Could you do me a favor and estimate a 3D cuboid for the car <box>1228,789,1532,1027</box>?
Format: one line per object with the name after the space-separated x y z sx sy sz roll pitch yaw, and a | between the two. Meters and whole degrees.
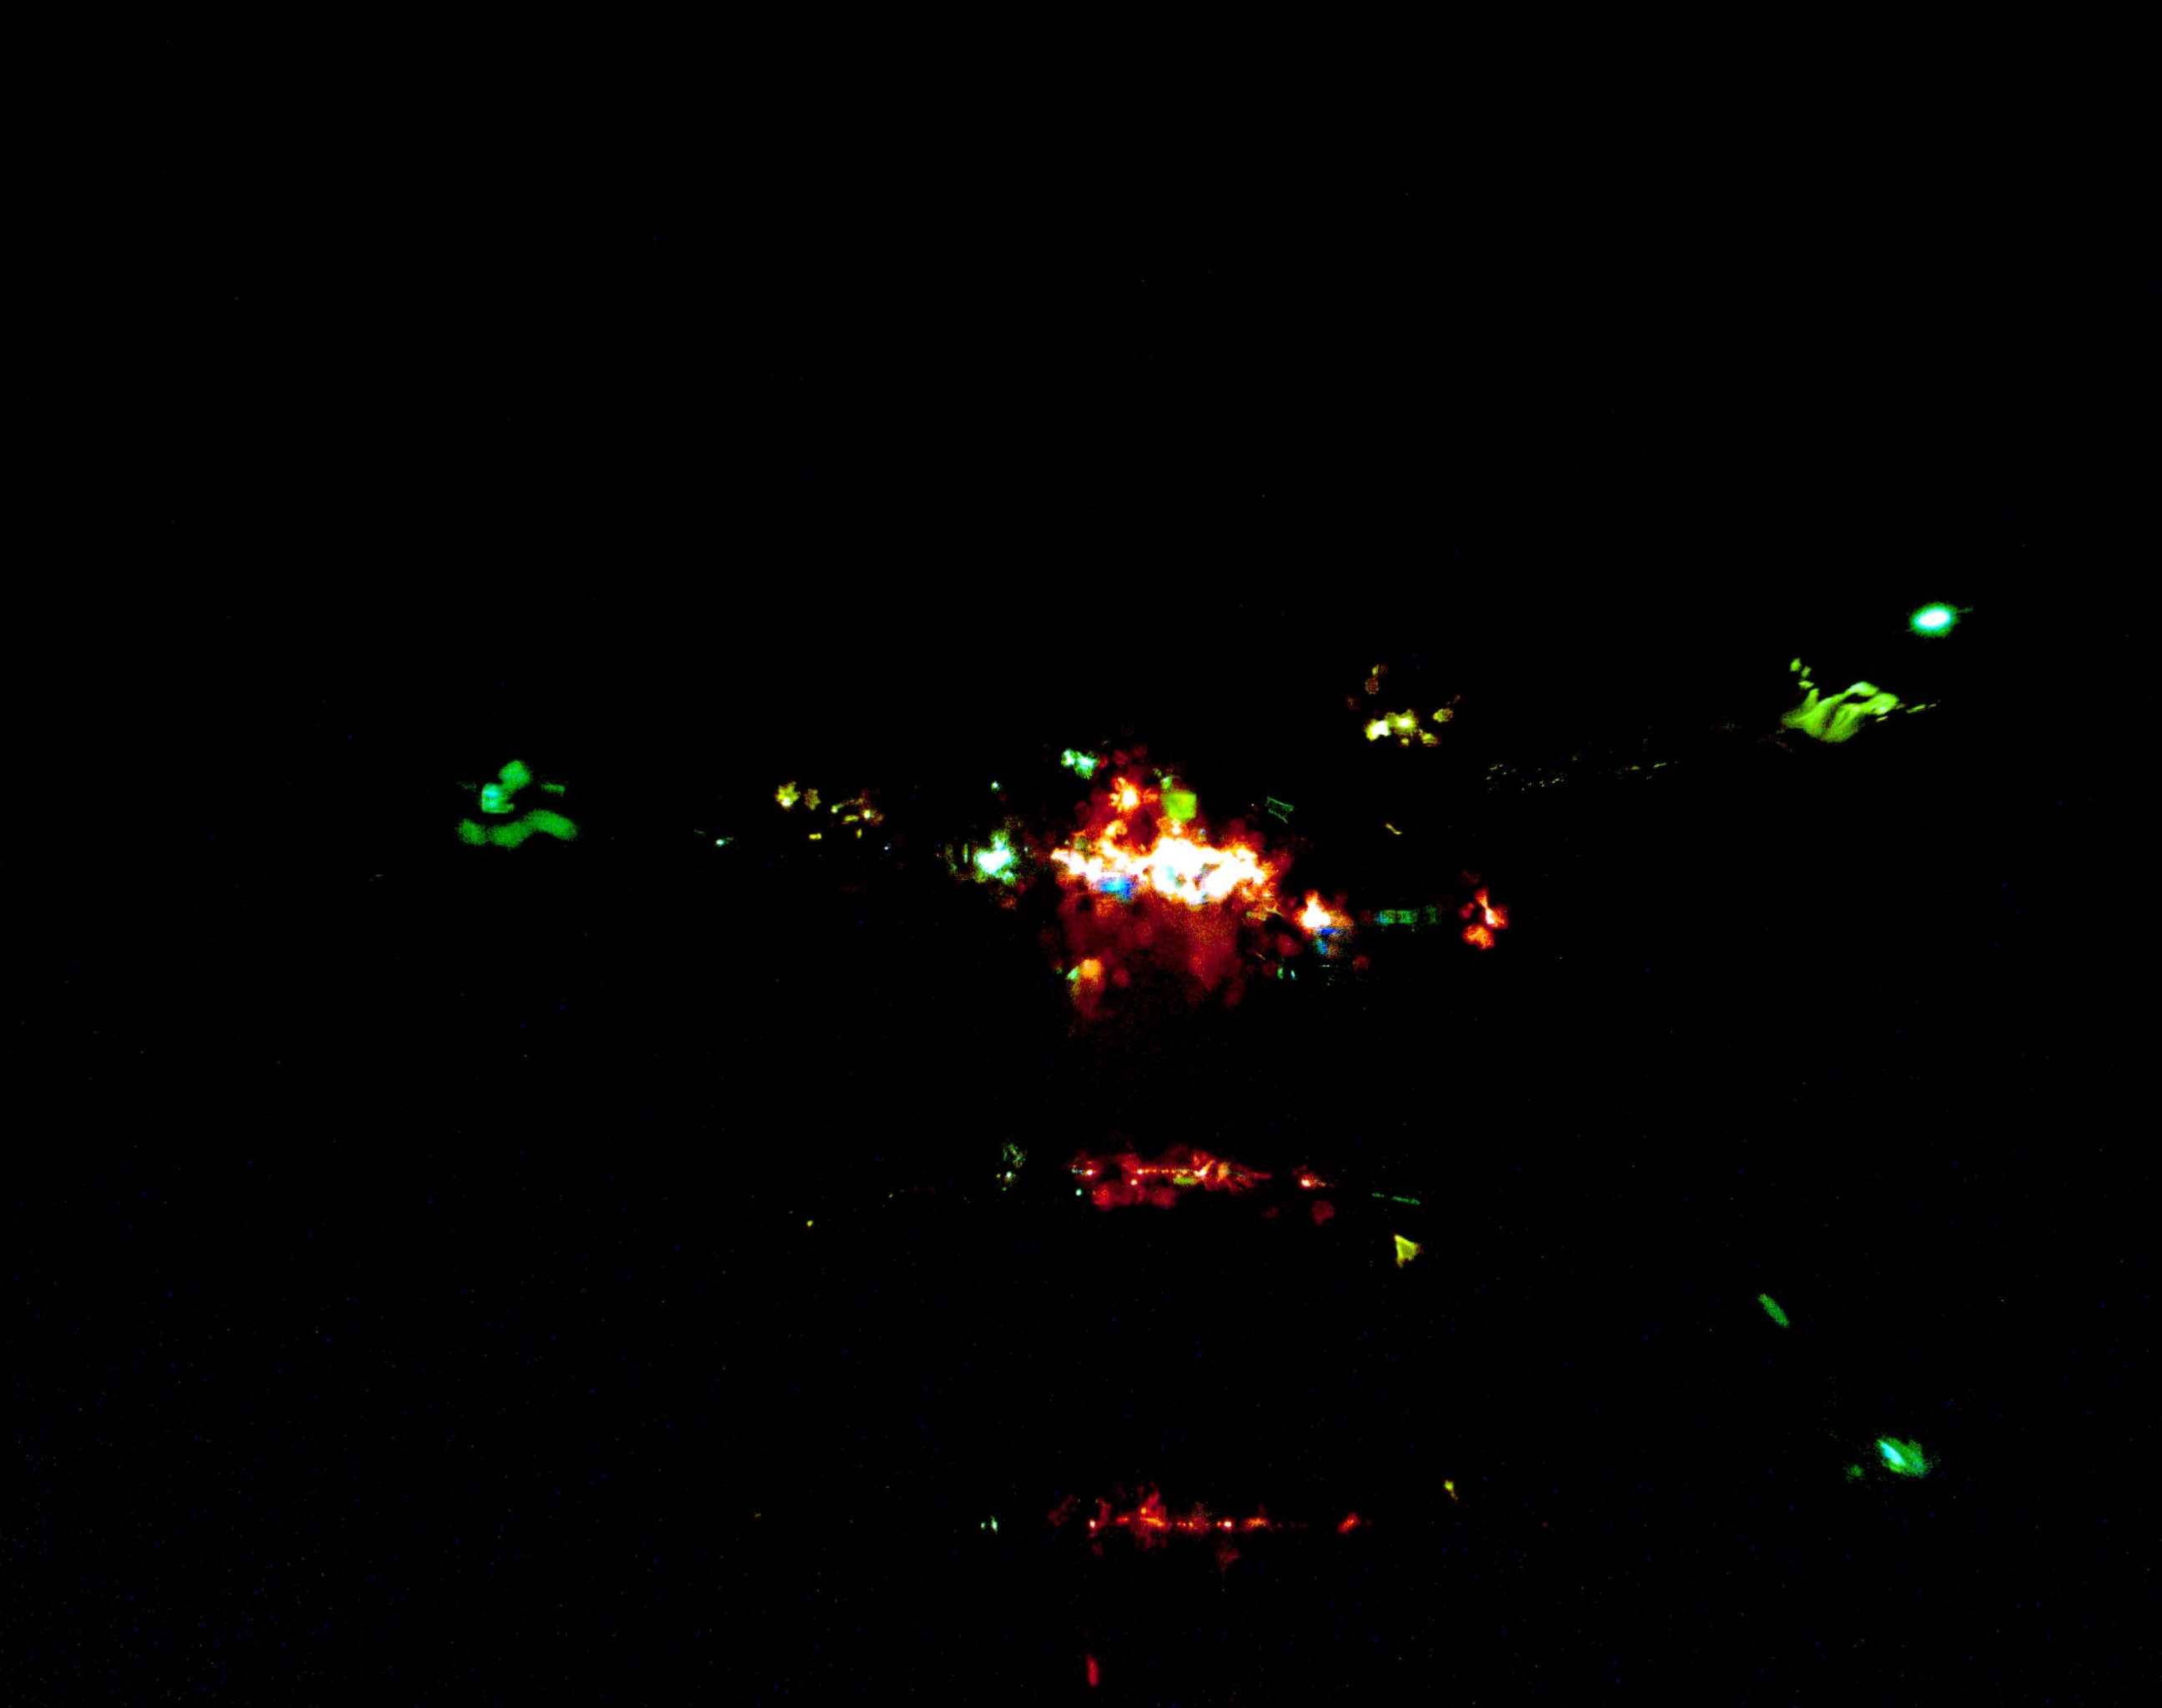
2.865 0.431 8.889 1.934 1.972 4.221 0 0 2 | car

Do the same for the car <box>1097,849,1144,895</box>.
1.606 0.651 32.065 1.701 1.638 3.735 -2 0 4 | car

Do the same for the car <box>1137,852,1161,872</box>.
5.012 0.579 60.493 1.656 1.450 4.053 0 0 3 | car

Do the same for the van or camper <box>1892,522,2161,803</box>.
13.210 -2.179 8.466 2.585 2.908 6.325 -1 0 -16 | van or camper

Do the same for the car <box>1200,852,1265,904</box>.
4.613 0.673 25.275 1.758 1.450 4.227 0 1 7 | car

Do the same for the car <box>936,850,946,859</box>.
-30.485 0.002 177.579 1.992 1.912 4.731 0 0 -7 | car

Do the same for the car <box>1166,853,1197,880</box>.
5.763 0.704 47.103 1.655 1.450 4.056 -1 0 6 | car

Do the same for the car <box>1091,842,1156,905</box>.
1.238 0.508 23.226 1.687 1.630 3.856 0 0 4 | car

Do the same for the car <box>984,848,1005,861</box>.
-12.531 0.065 117.740 1.999 1.912 4.713 0 0 -18 | car
